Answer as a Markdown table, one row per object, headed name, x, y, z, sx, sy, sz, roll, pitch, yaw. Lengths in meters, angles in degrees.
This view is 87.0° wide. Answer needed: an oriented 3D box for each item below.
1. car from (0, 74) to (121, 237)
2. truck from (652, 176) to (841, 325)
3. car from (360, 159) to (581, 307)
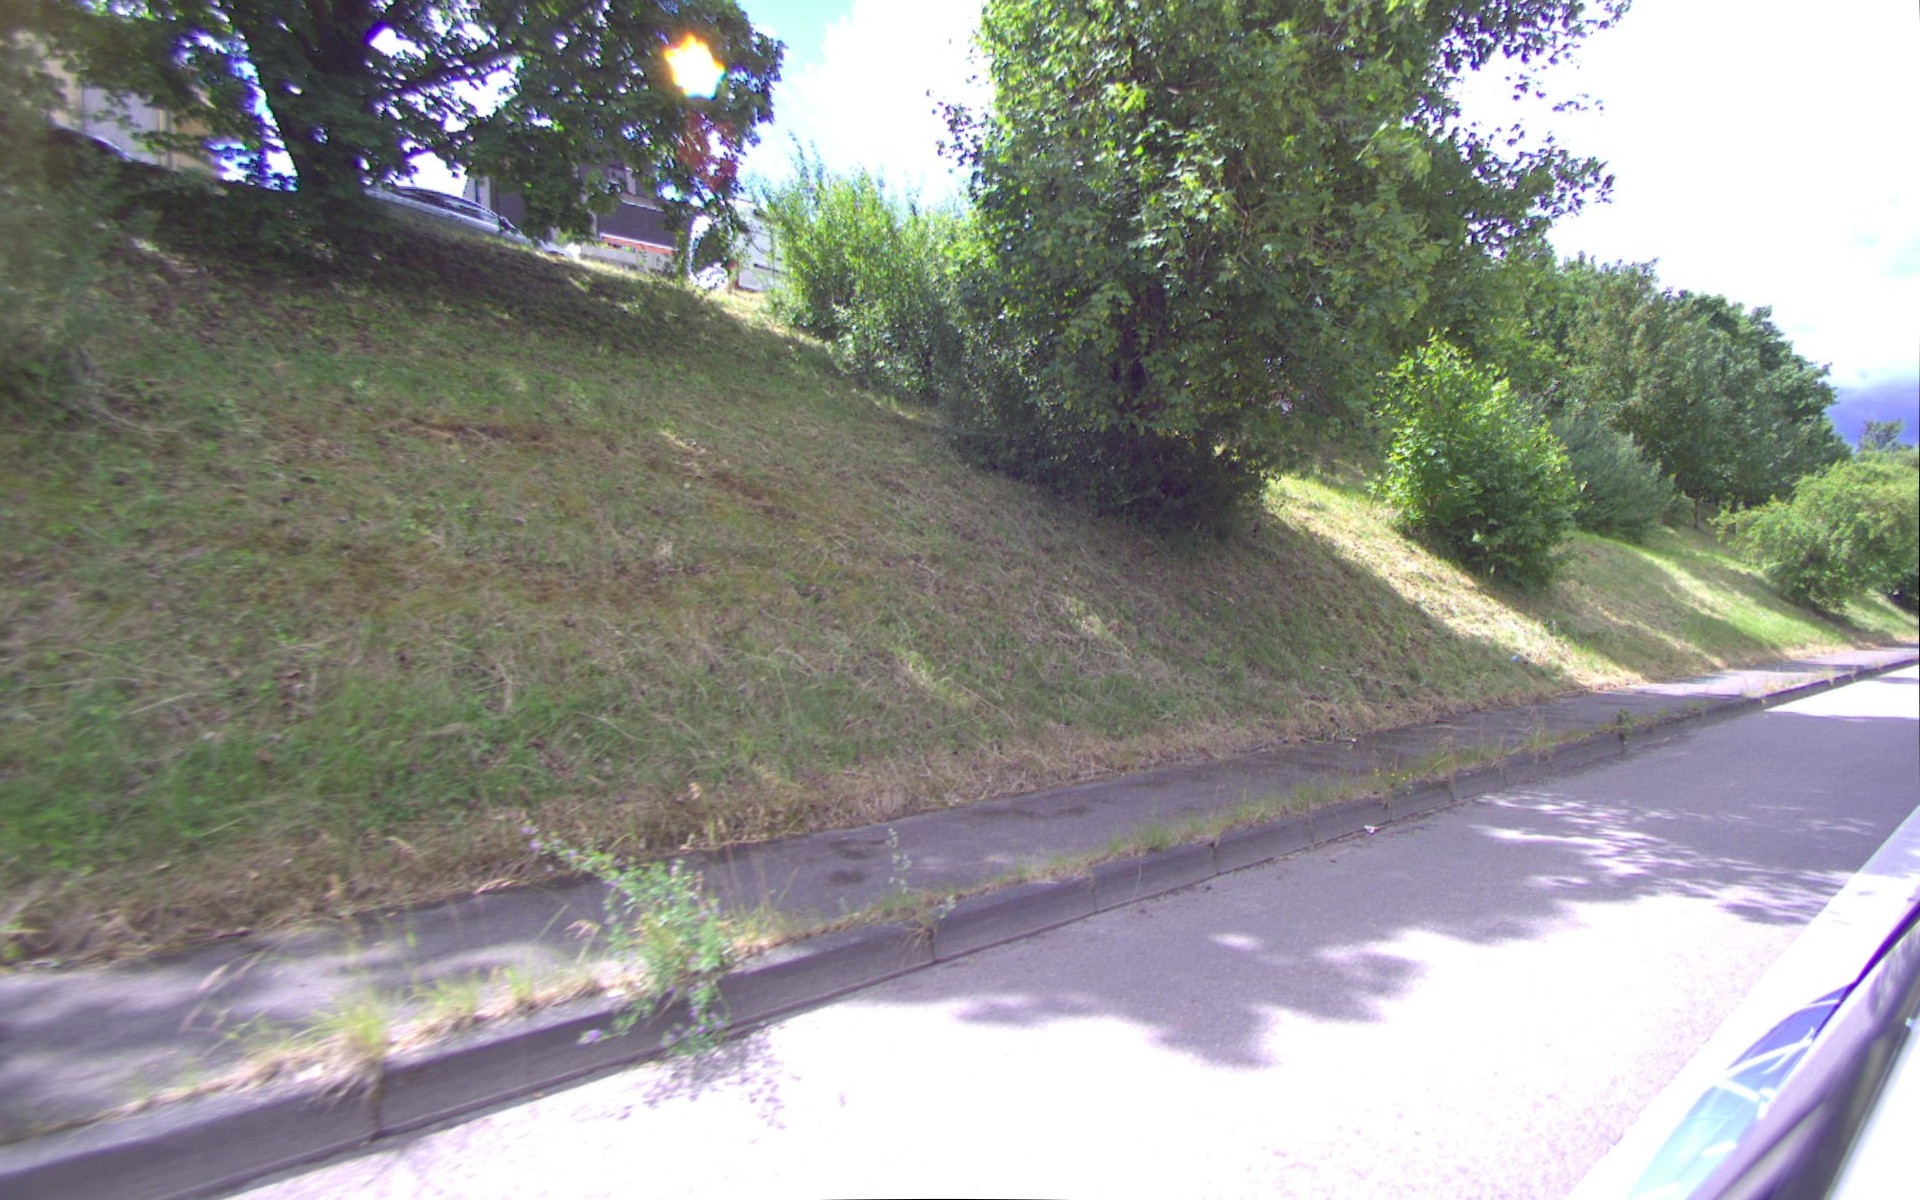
| name | x | y | z | sx | sy | sz | roll | pitch | yaw |
| --- | --- | --- | --- | --- | --- | --- | --- | --- | --- |
| car | -13.375 | -6.167 | 13.563 | 3.274 | 1.460 | 1.452 | 0 | 0 | -41 |
| truck | -4.531 | -7.414 | 21.893 | 3.903 | 1.965 | 1.385 | 0 | 0 | -45 |
| car | -8.606 | -6.379 | 17.928 | 3.276 | 1.460 | 1.451 | 0 | 0 | -42 |
